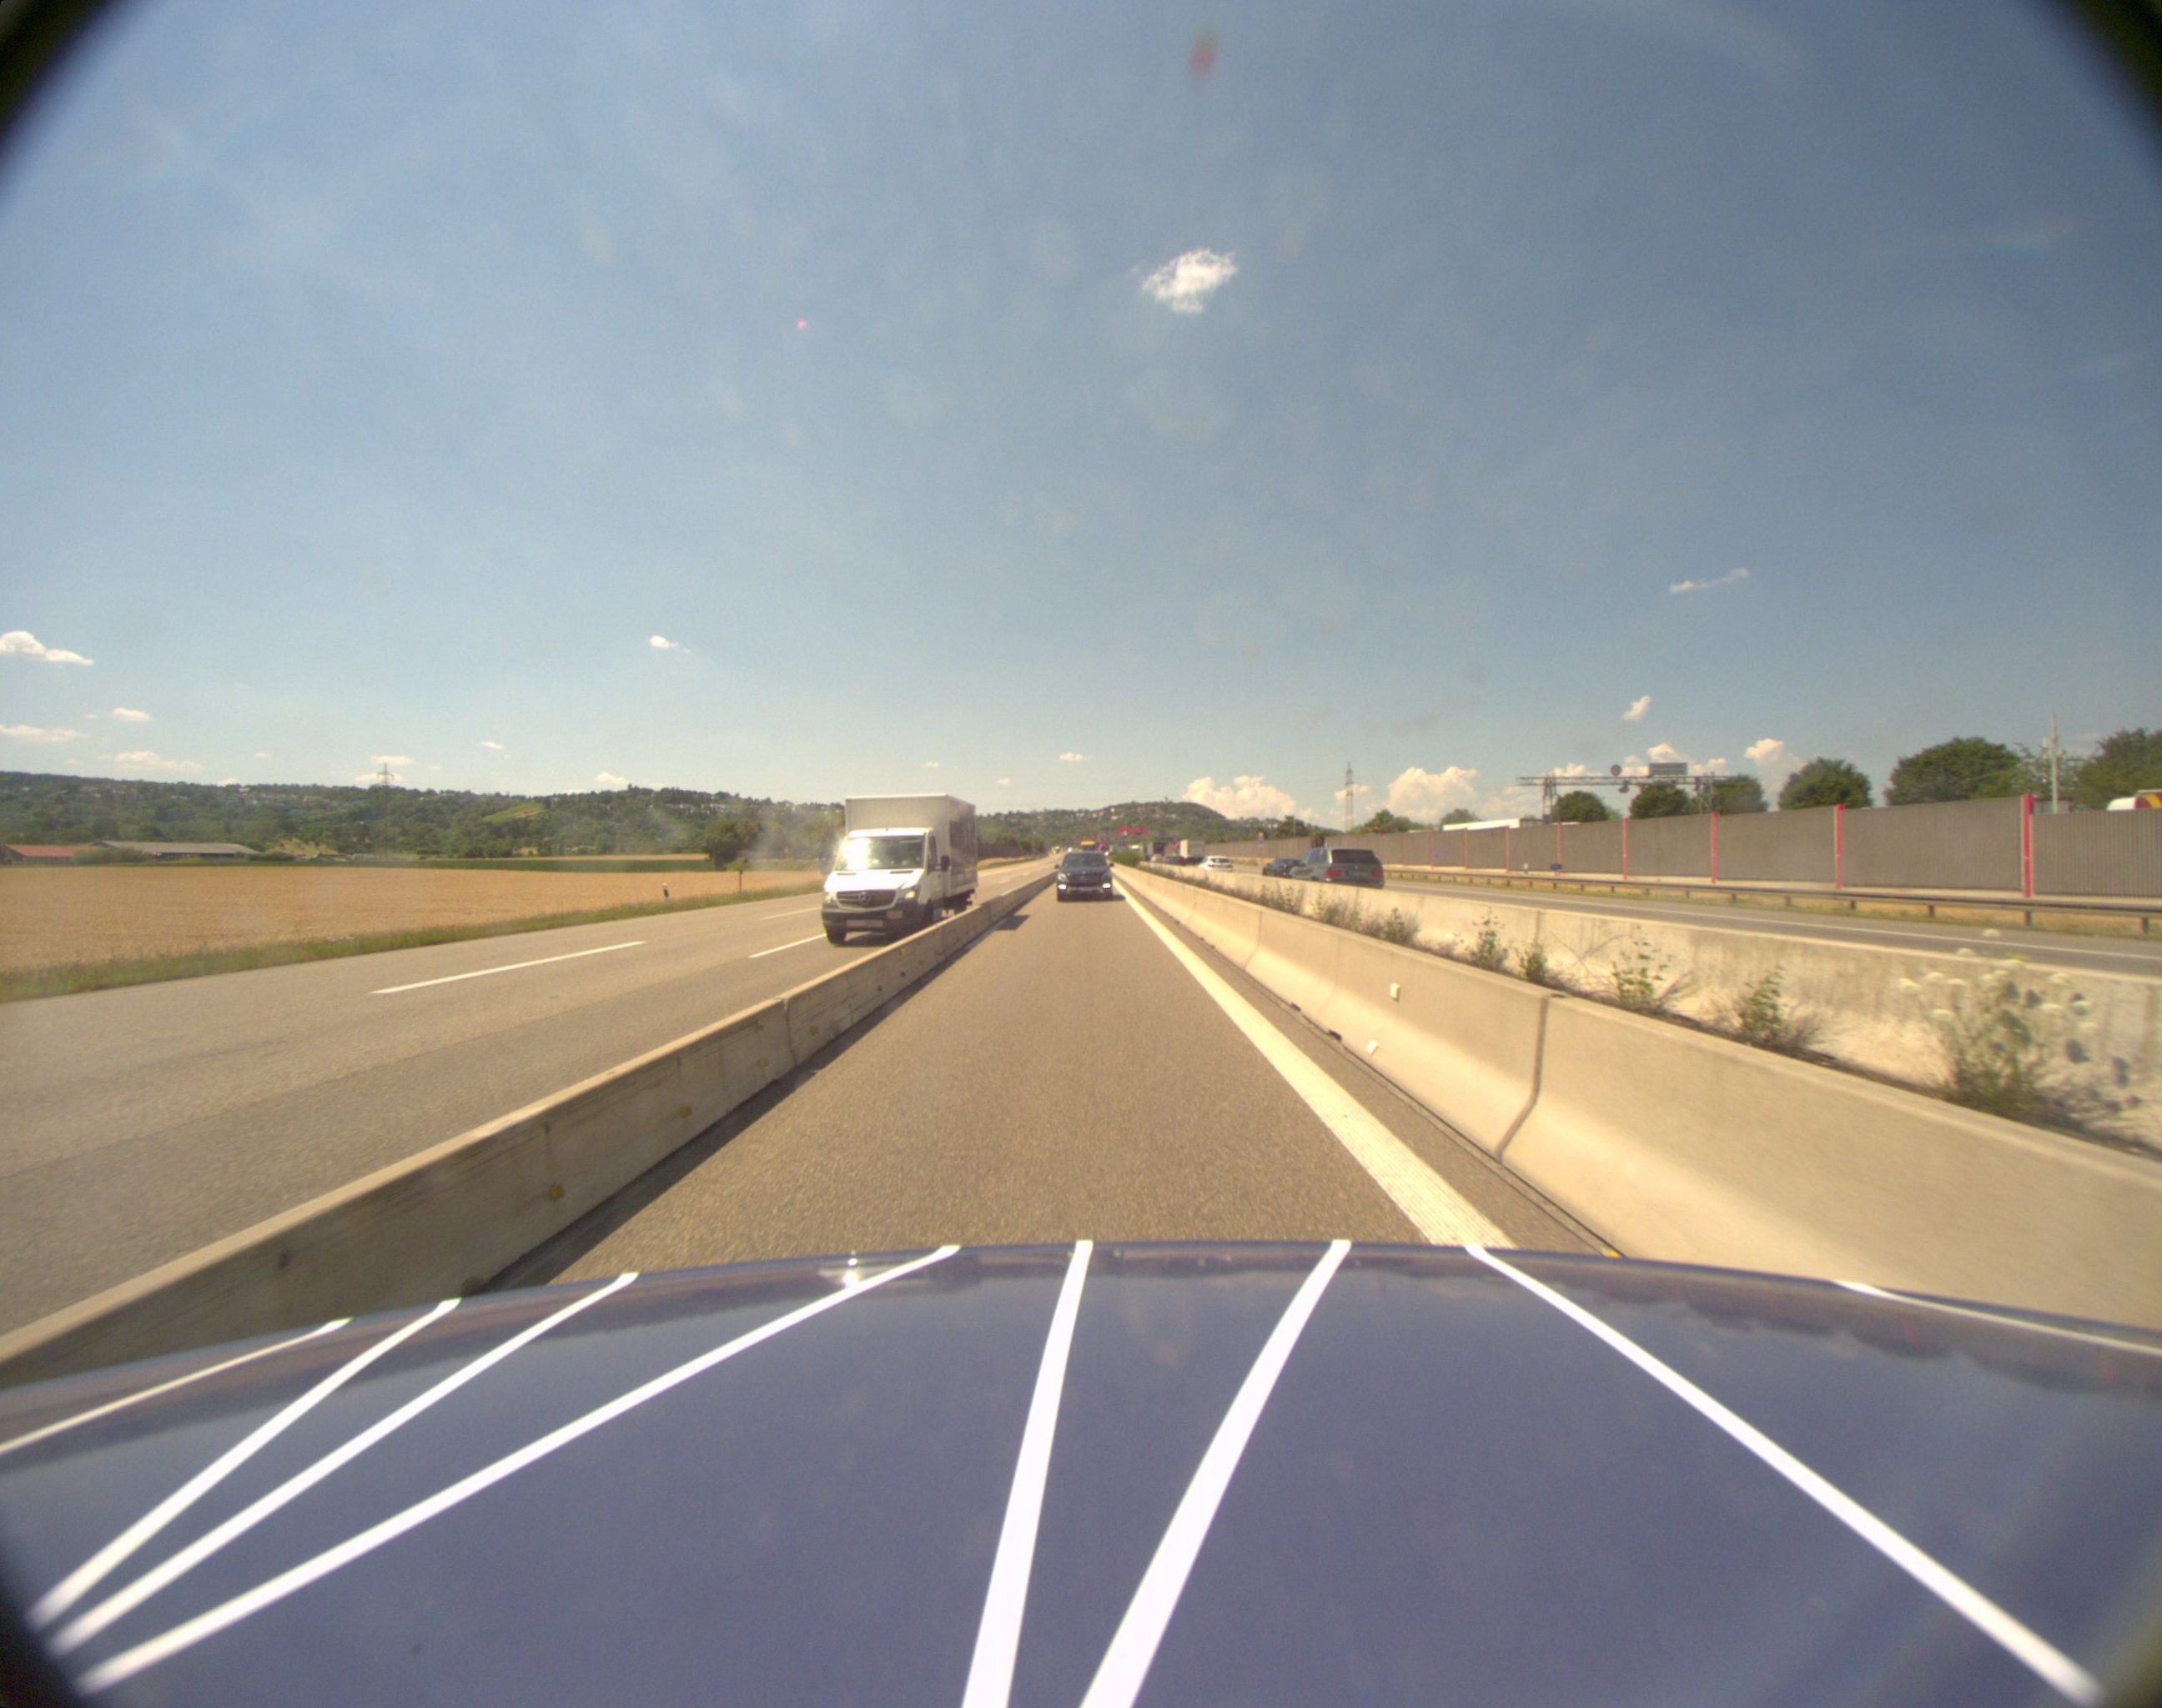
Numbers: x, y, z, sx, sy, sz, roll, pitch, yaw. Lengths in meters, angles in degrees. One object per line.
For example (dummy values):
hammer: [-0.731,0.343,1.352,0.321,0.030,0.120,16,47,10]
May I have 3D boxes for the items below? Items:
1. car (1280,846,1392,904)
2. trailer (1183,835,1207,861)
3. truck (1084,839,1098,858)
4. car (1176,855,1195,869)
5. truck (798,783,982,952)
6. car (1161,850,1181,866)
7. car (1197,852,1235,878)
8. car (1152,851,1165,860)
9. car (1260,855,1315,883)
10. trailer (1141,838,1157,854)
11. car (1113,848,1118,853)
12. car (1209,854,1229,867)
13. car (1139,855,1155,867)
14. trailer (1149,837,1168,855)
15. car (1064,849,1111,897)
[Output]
car: [7.825,0.572,23.852,1.895,1.608,4.820,-1,1,1]
trailer: [16.838,-0.888,112.252,2.654,3.851,6.616,0,1,1]
truck: [1.706,-1.048,133.440,2.272,3.139,8.186,-2,1,1]
car: [13.545,1.076,98.904,1.998,1.749,4.000,-1,0,1]
truck: [-3.966,0.277,17.421,2.326,3.049,6.751,-2,0,1]
car: [9.402,0.413,79.536,1.659,1.510,4.000,-1,1,1]
car: [8.518,0.667,48.308,1.679,1.510,4.507,-1,1,1]
car: [13.364,0.178,131.883,1.795,1.422,5.104,0,1,1]
car: [11.799,0.822,43.734,1.816,1.477,4.962,1,1,1]
trailer: [18.462,-2.210,207.038,3.264,4.033,14.388,-2,1,1]
car: [10.596,-1.085,233.966,1.515,1.530,3.183,-1,1,1]
car: [16.346,0.775,90.214,1.659,1.510,4.000,0,1,1]
car: [9.739,1.030,112.506,1.998,1.749,4.644,-1,0,1]
trailer: [17.740,-1.813,174.878,2.991,4.043,15.161,-1,1,1]
car: [0.280,0.710,29.661,1.630,1.711,3.865,-2,0,1]
